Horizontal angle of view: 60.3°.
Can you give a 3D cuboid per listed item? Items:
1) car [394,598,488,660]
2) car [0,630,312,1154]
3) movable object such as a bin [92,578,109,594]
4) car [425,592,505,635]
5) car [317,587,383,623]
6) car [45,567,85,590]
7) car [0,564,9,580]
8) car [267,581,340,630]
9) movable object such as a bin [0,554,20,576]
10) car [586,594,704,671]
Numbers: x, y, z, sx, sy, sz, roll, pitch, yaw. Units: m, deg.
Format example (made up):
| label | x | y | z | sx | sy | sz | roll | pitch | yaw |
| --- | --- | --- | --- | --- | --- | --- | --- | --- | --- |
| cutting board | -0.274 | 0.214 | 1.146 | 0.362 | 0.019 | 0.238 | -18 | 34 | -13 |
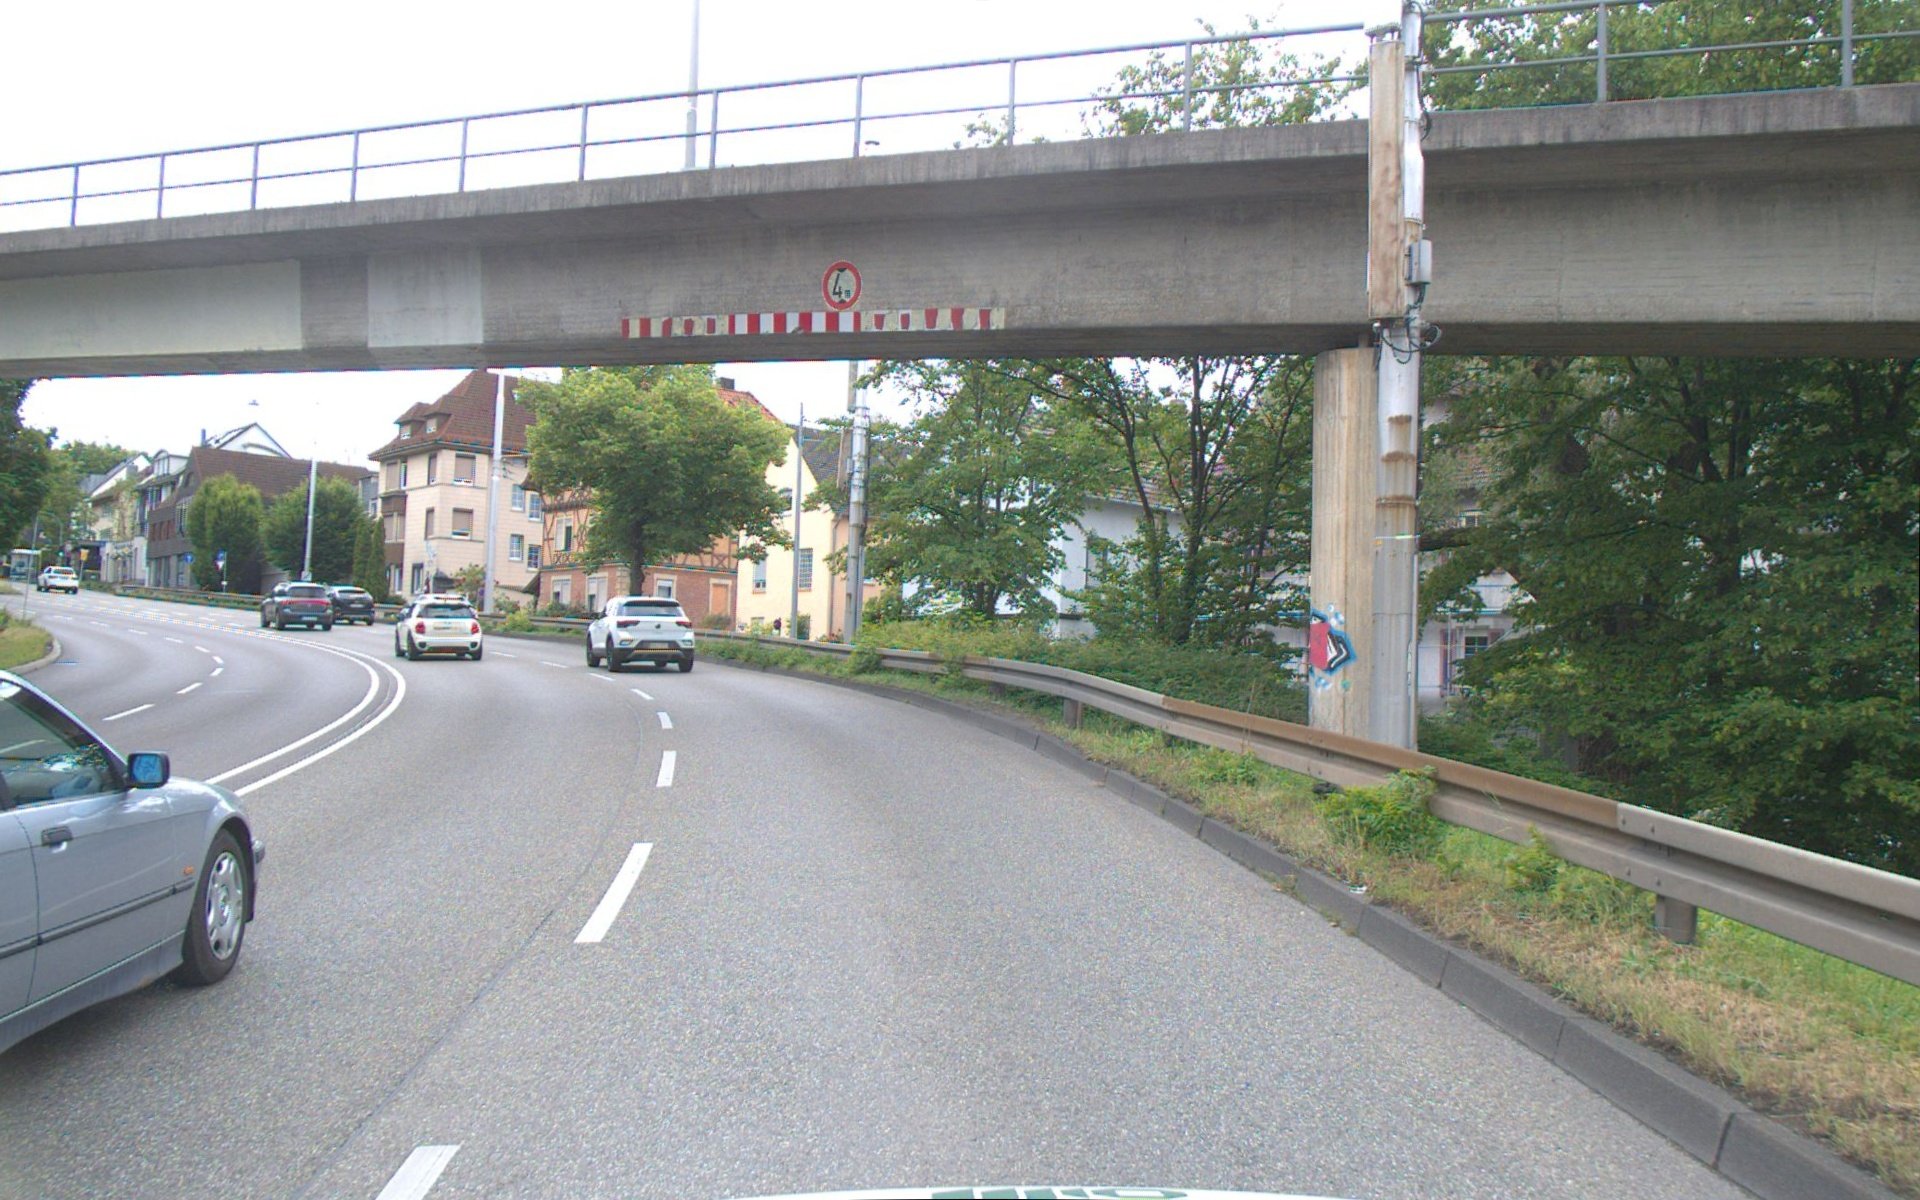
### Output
| label | x | y | z | sx | sy | sz | roll | pitch | yaw |
| --- | --- | --- | --- | --- | --- | --- | --- | --- | --- |
| car | -12.719 | 0.689 | 40.449 | 1.701 | 1.400 | 3.428 | 1 | 0 | -26 |
| car | -3.516 | 0.842 | 5.064 | 1.602 | 1.407 | 4.615 | 0 | 0 | -5 |
| movable object such as a bin | -79.811 | -1.313 | 153.634 | 1.188 | 1.433 | 0.701 | 6 | -2 | -39 |
| car | -16.795 | 0.440 | 56.087 | 1.707 | 1.400 | 3.417 | 1 | 0 | -33 |
| car | -24.800 | 0.188 | 67.204 | 1.709 | 1.400 | 3.413 | 1 | 0 | -35 |
| car | -57.293 | -1.378 | 105.862 | 1.711 | 1.400 | 3.408 | 1 | 0 | -39 |
| car | -84.329 | -2.424 | 144.380 | 1.711 | 1.400 | 3.408 | 1 | 0 | -39 |
| car | -23.402 | 0.182 | 58.900 | 1.708 | 1.668 | 3.414 | 1 | 0 | -35 |
| movable object such as a bin | -87.299 | -3.230 | 151.258 | 1.502 | 1.902 | 1.885 | 3 | -2 | 43 |
| car | -6.820 | 0.669 | 35.565 | 1.773 | 1.545 | 3.431 | 1 | 0 | -24 |
